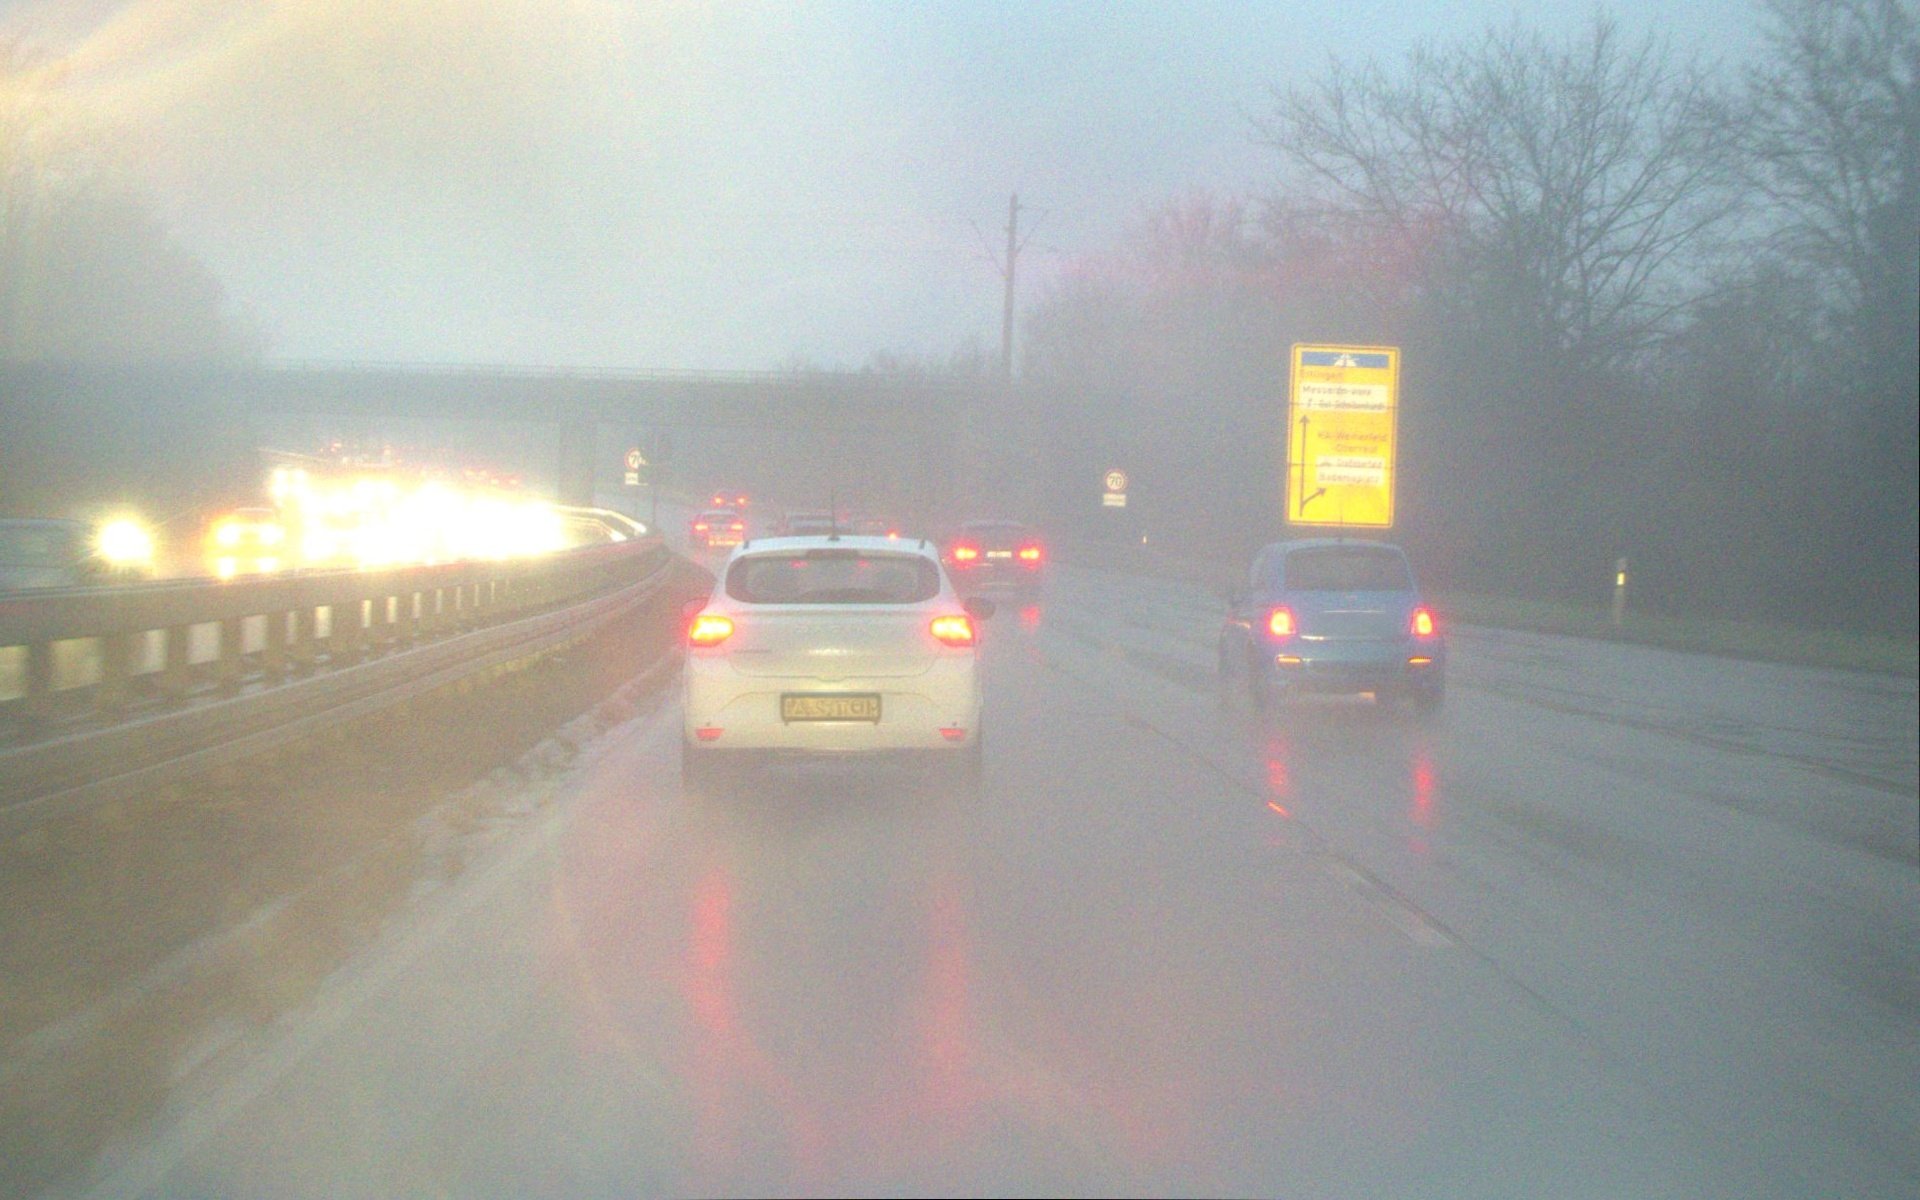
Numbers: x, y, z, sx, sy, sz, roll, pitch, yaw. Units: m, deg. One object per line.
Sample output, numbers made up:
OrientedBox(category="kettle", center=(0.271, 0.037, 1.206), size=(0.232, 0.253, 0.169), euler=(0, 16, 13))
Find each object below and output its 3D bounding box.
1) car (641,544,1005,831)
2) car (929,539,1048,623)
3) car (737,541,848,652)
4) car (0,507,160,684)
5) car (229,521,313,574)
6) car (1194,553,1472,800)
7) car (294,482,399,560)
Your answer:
OrientedBox(category="car", center=(-0.756, 0.472, 21.519), size=(2.025, 1.569, 4.000), euler=(2, 1, 1))
OrientedBox(category="car", center=(0.559, -0.362, 70.916), size=(1.932, 1.541, 3.774), euler=(-4, 0, -6))
OrientedBox(category="car", center=(-3.202, -0.094, 66.359), size=(1.993, 2.007, 4.000), euler=(2, 1, -2))
OrientedBox(category="car", center=(-8.659, -0.085, 31.469), size=(1.783, 1.504, 4.135), euler=(2, 1, -2))
OrientedBox(category="car", center=(-20.761, -1.586, 103.760), size=(1.863, 1.534, 4.113), euler=(2, 1, -3))
OrientedBox(category="car", center=(3.242, 0.614, 30.582), size=(1.932, 2.012, 3.774), euler=(2, 1, -1))
OrientedBox(category="car", center=(-15.236, -1.943, 85.578), size=(1.883, 1.826, 4.788), euler=(2, 1, -2))
